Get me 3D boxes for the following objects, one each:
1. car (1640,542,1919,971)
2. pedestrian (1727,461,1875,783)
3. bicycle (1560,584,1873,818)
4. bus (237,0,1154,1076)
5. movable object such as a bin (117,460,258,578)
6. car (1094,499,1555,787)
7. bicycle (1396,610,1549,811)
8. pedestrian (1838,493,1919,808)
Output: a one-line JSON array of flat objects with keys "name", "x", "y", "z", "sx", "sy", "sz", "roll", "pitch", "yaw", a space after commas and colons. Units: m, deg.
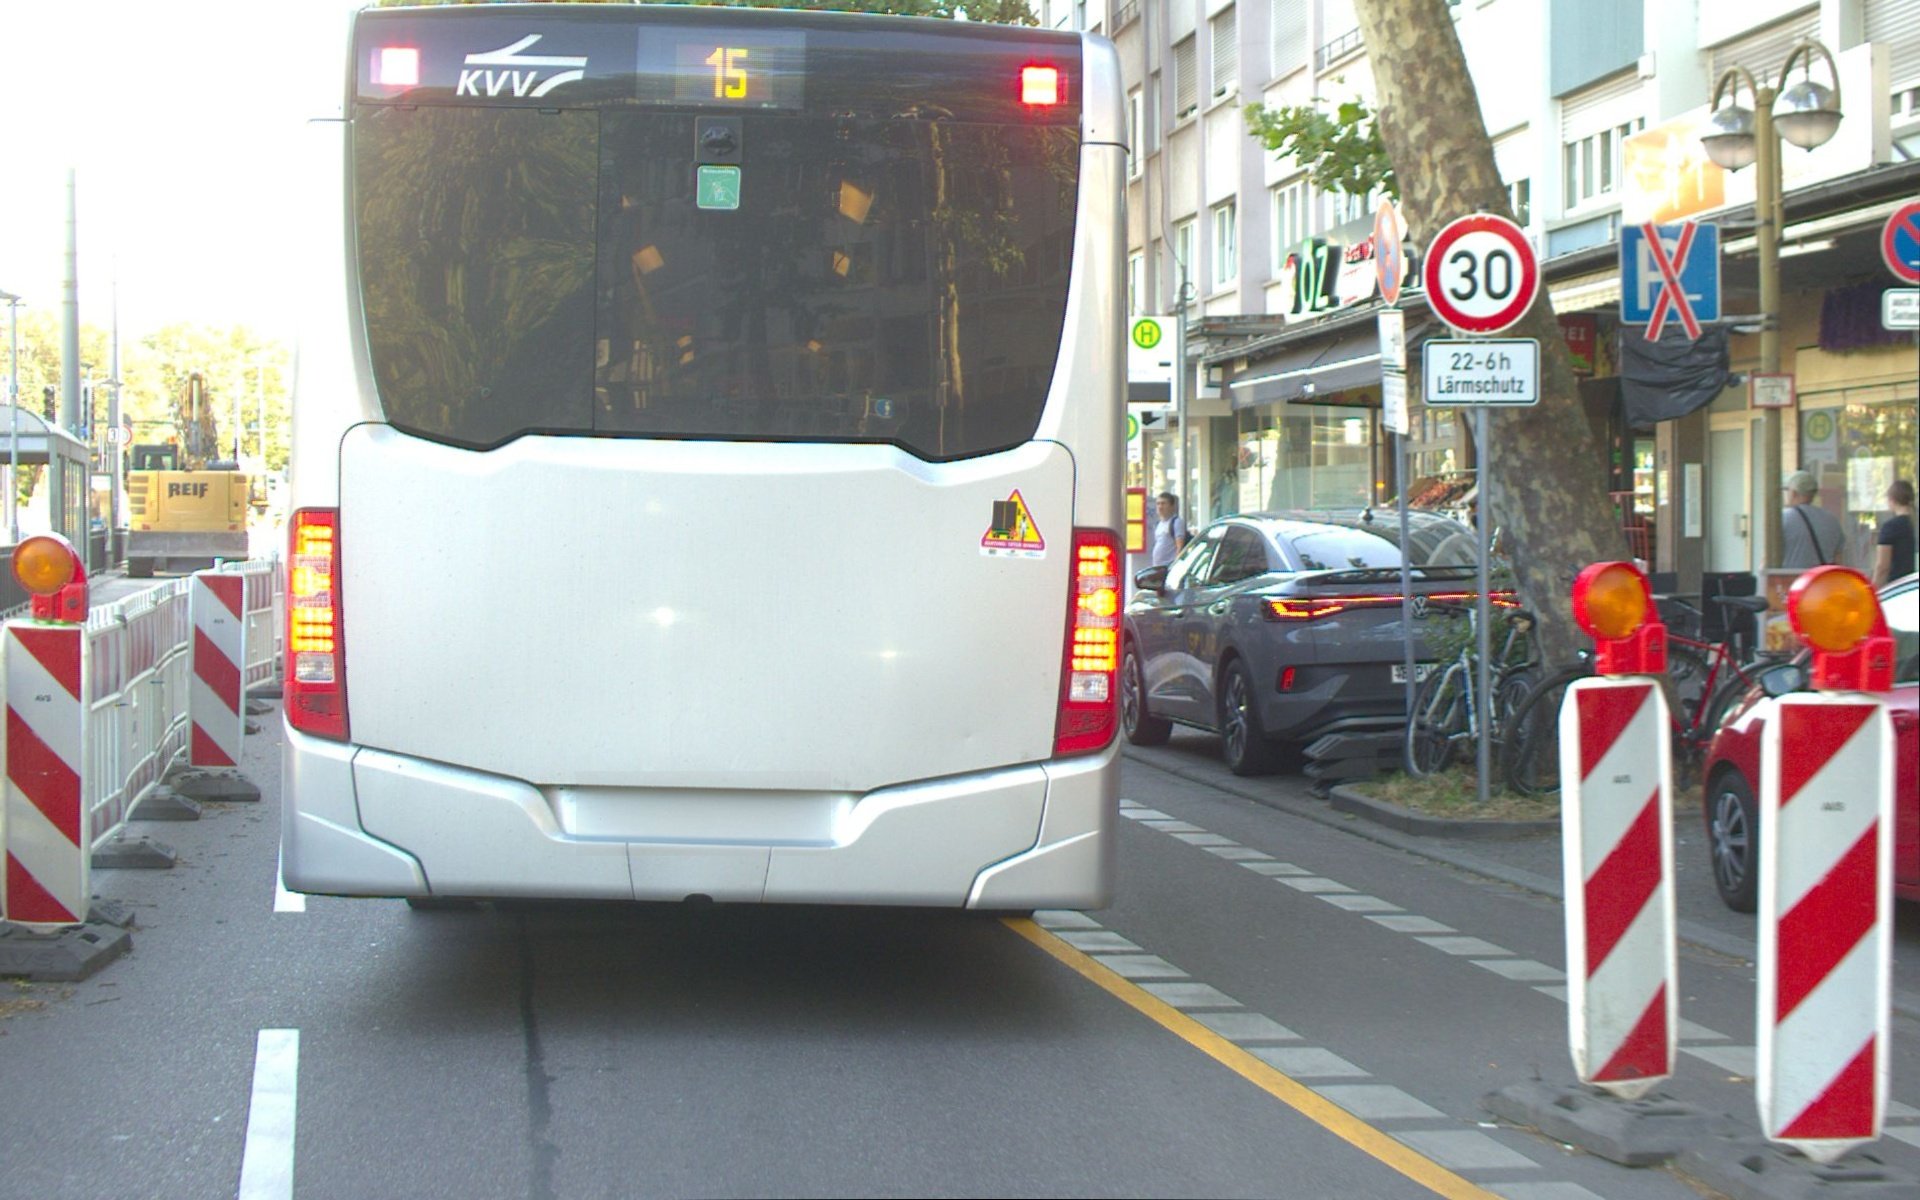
[{"name": "car", "x": 4.039, "y": 0.532, "z": 12.670, "sx": 1.666, "sy": 1.424, "sz": 3.849, "roll": -2, "pitch": 2, "yaw": -10}, {"name": "pedestrian", "x": 5.344, "y": 0.129, "z": 21.872, "sx": 0.690, "sy": 2.007, "sz": 0.696, "roll": 0, "pitch": 1, "yaw": -9}, {"name": "bicycle", "x": 3.788, "y": 0.506, "z": 17.243, "sx": 1.460, "sy": 1.063, "sz": 0.295, "roll": -3, "pitch": 5, "yaw": 6}, {"name": "bus", "x": -1.112, "y": -0.316, "z": 15.067, "sx": 2.608, "sy": 3.159, "sz": 10.293, "roll": 1, "pitch": 1, "yaw": -4}, {"name": "movable object such as a bin", "x": -16.552, "y": -1.743, "z": 73.899, "sx": 2.806, "sy": 2.453, "sz": 4.001, "roll": 0, "pitch": 1, "yaw": -11}, {"name": "car", "x": 2.207, "y": 0.190, "z": 22.028, "sx": 1.739, "sy": 1.592, "sz": 4.300, "roll": -2, "pitch": 2, "yaw": -10}, {"name": "bicycle", "x": 2.665, "y": 0.561, "z": 17.940, "sx": 0.294, "sy": 0.924, "sz": 1.131, "roll": -5, "pitch": 5, "yaw": -16}, {"name": "pedestrian", "x": 6.105, "y": 0.314, "z": 22.252, "sx": 0.612, "sy": 2.007, "sz": 0.696, "roll": 0, "pitch": 1, "yaw": -6}]
